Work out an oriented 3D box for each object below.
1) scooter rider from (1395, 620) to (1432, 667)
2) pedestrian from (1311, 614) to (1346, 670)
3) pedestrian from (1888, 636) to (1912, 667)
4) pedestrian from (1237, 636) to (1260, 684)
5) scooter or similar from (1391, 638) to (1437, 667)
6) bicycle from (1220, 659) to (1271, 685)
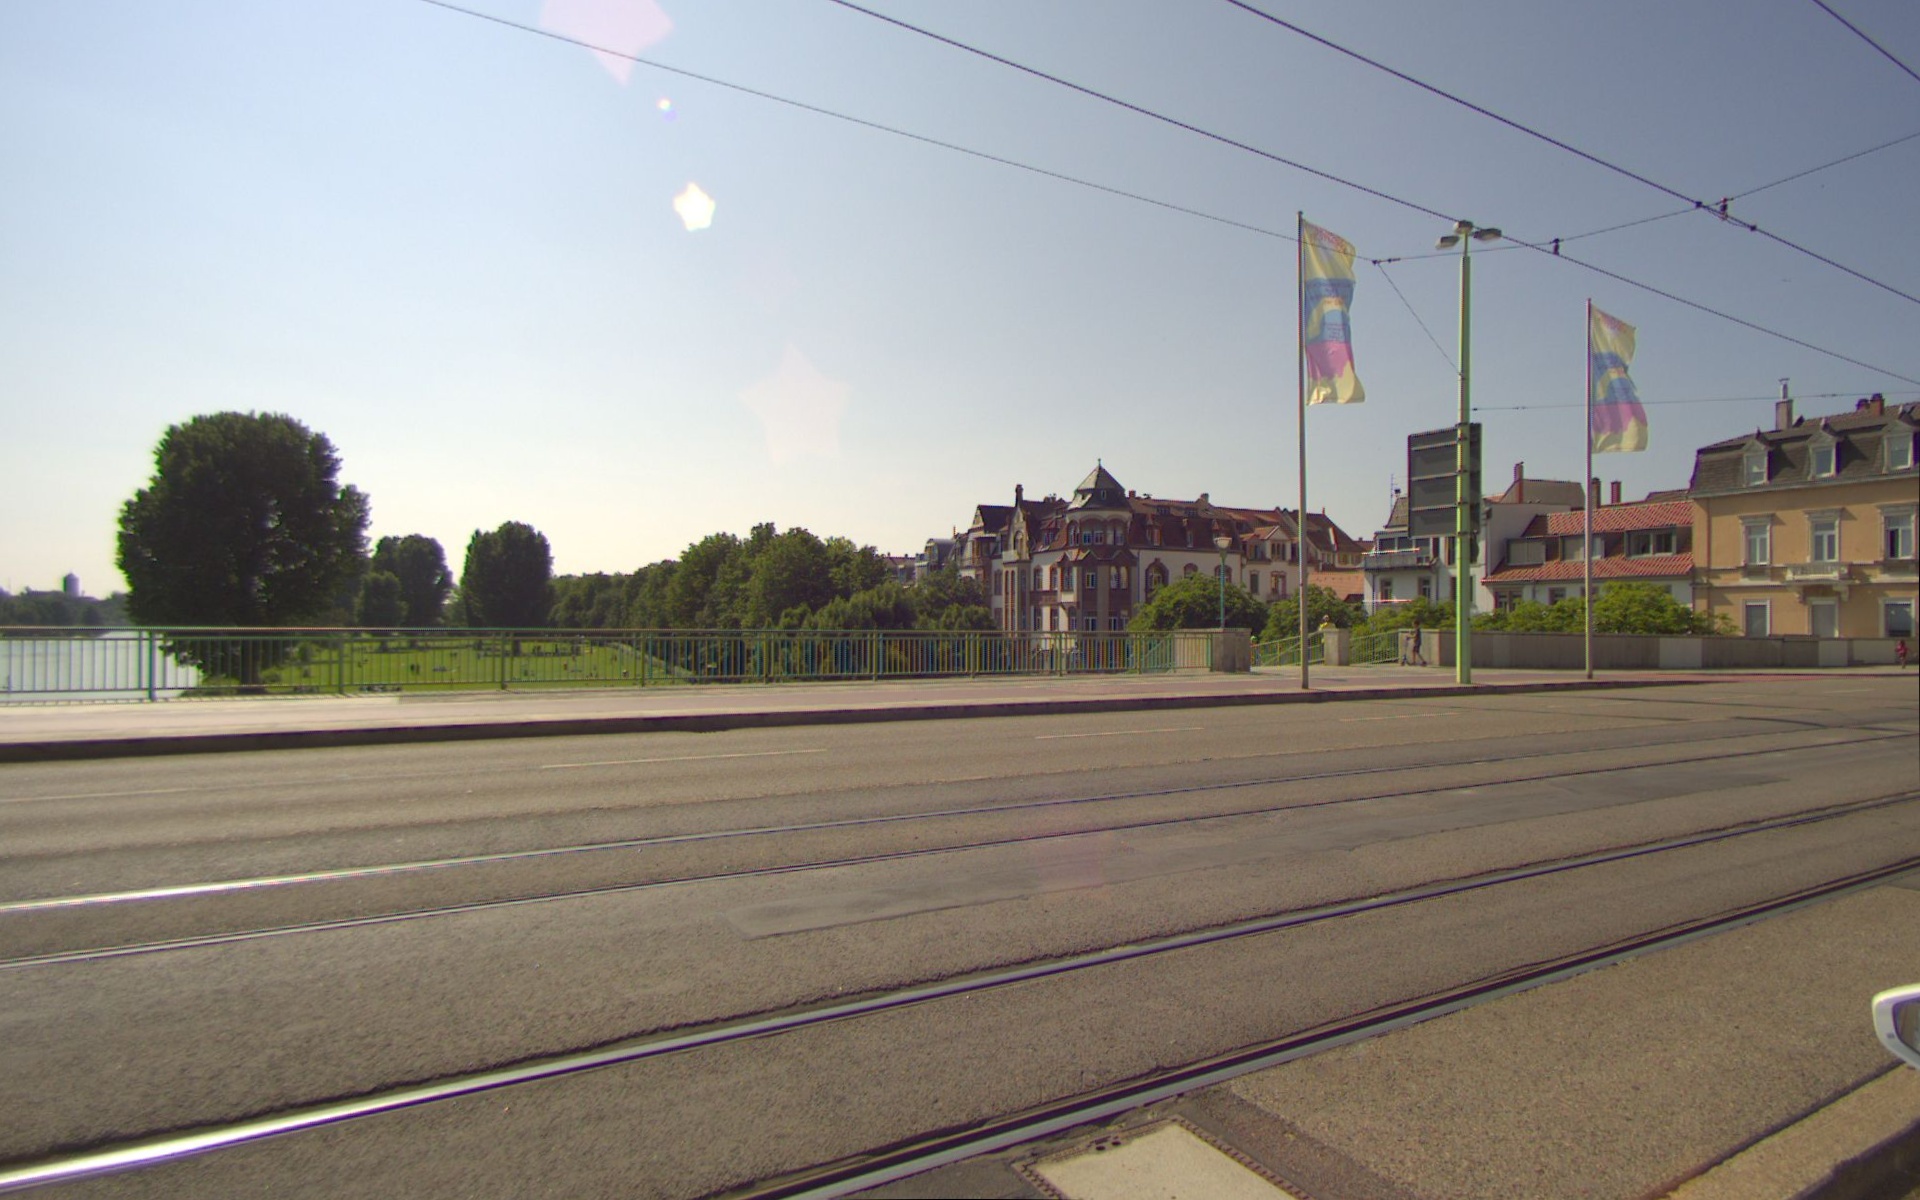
[{"bbox_3d":[13.730,1.303,30.398,0.588,1.333,0.768,2,3,-18],"label":"scooter rider"},{"bbox_3d":[12.189,1.386,33.253,0.789,1.804,0.744,1,-1,-21],"label":"pedestrian"},{"bbox_3d":[35.935,1.969,38.409,0.537,1.161,0.411,2,3,-24],"label":"pedestrian"},{"bbox_3d":[10.177,2.099,35.439,0.407,1.654,0.624,1,1,-25],"label":"pedestrian"},{"bbox_3d":[13.737,1.587,30.411,0.945,0.793,0.779,2,3,-18],"label":"scooter or similar"},{"bbox_3d":[10.060,2.524,35.474,0.614,0.726,1.922,0,1,-24],"label":"bicycle"}]
